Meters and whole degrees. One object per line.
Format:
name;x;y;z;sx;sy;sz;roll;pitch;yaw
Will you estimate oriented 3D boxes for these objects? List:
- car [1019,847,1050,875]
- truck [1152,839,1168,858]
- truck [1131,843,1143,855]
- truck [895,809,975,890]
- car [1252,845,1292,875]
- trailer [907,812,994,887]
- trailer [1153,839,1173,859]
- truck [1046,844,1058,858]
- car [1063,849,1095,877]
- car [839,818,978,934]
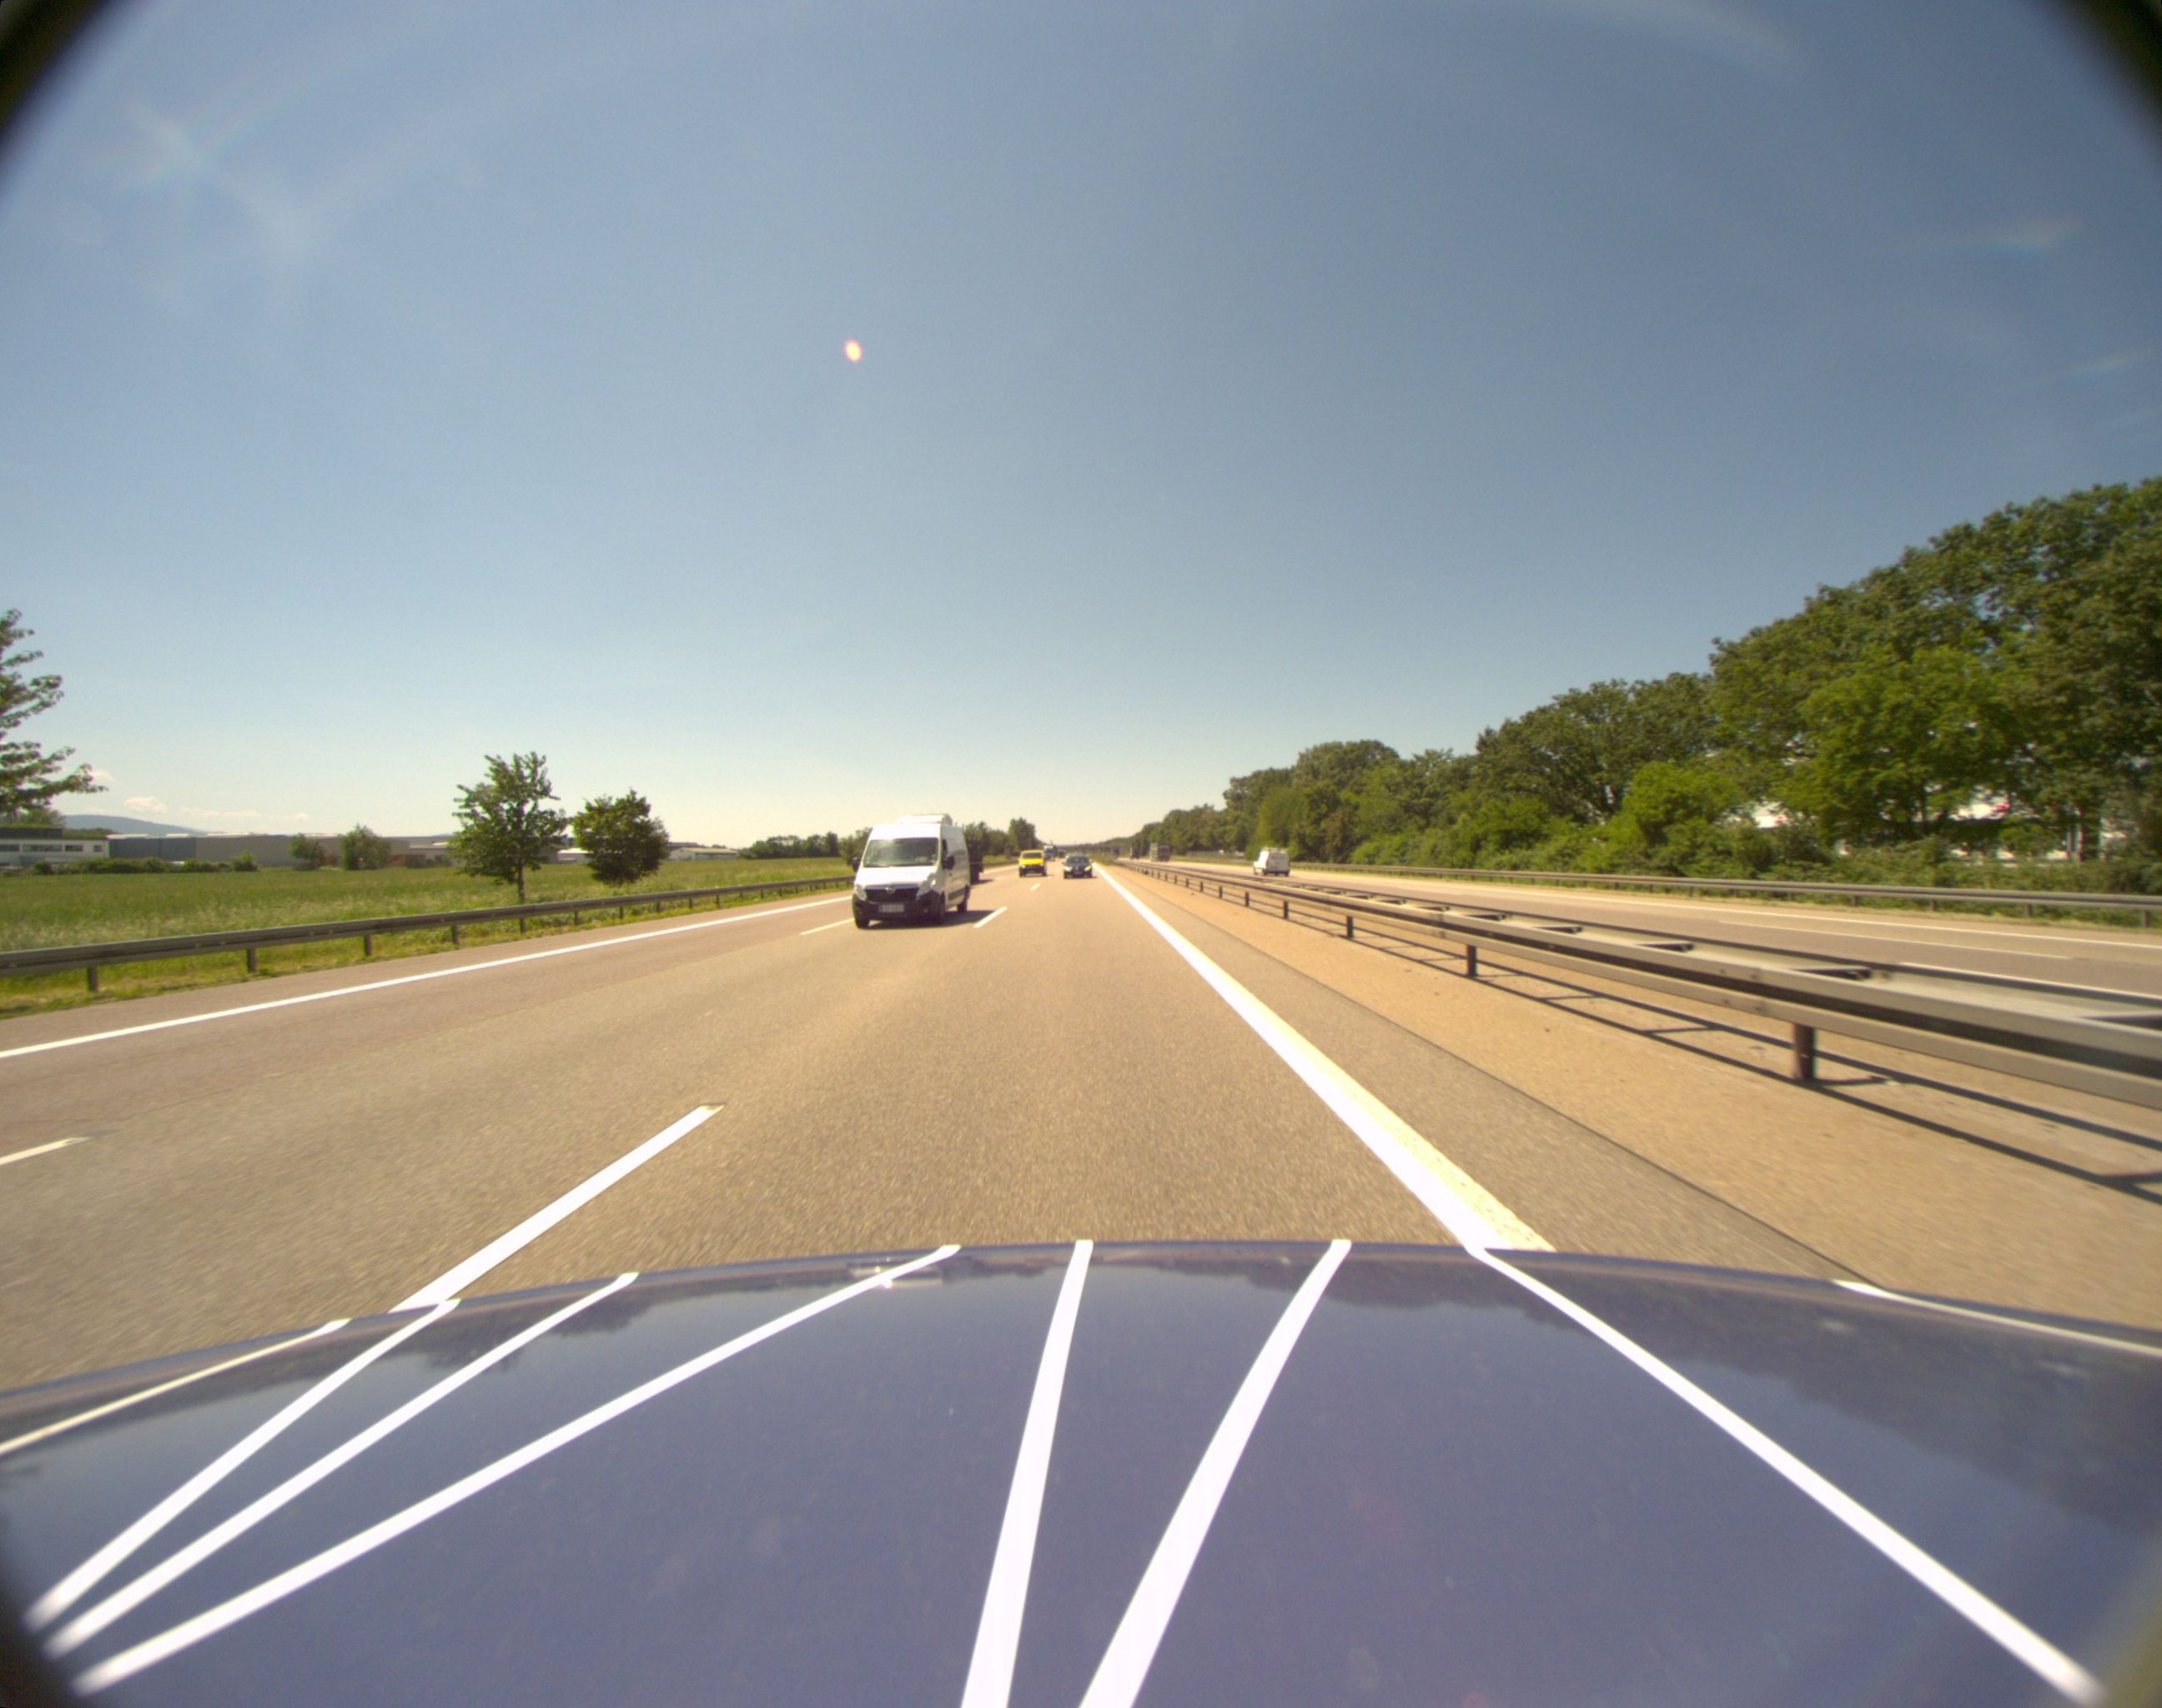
car;-3.448;0.505;56.880;1.958;1.939;3.999;-2;1;0
truck;17.570;-1.191;169.072;2.884;4.020;6.331;1;1;1
truck;17.464;-1.602;238.243;3.012;3.769;9.600;-1;1;0
truck;-7.837;-0.245;41.822;2.700;3.943;7.703;-2;0;1
car;13.454;0.355;53.708;1.793;2.002;4.379;1;1;1
trailer;-7.774;-0.270;47.553;2.700;3.943;13.960;-2;0;1
trailer;17.444;-1.130;162.211;2.884;4.020;13.680;1;1;1
truck;-7.587;-0.819;197.060;2.976;3.626;7.148;-3;1;-2
car;-0.088;0.572;49.448;1.690;1.646;3.463;-2;1;5
car;-4.220;0.460;19.824;2.159;2.494;5.945;-2;1;0
